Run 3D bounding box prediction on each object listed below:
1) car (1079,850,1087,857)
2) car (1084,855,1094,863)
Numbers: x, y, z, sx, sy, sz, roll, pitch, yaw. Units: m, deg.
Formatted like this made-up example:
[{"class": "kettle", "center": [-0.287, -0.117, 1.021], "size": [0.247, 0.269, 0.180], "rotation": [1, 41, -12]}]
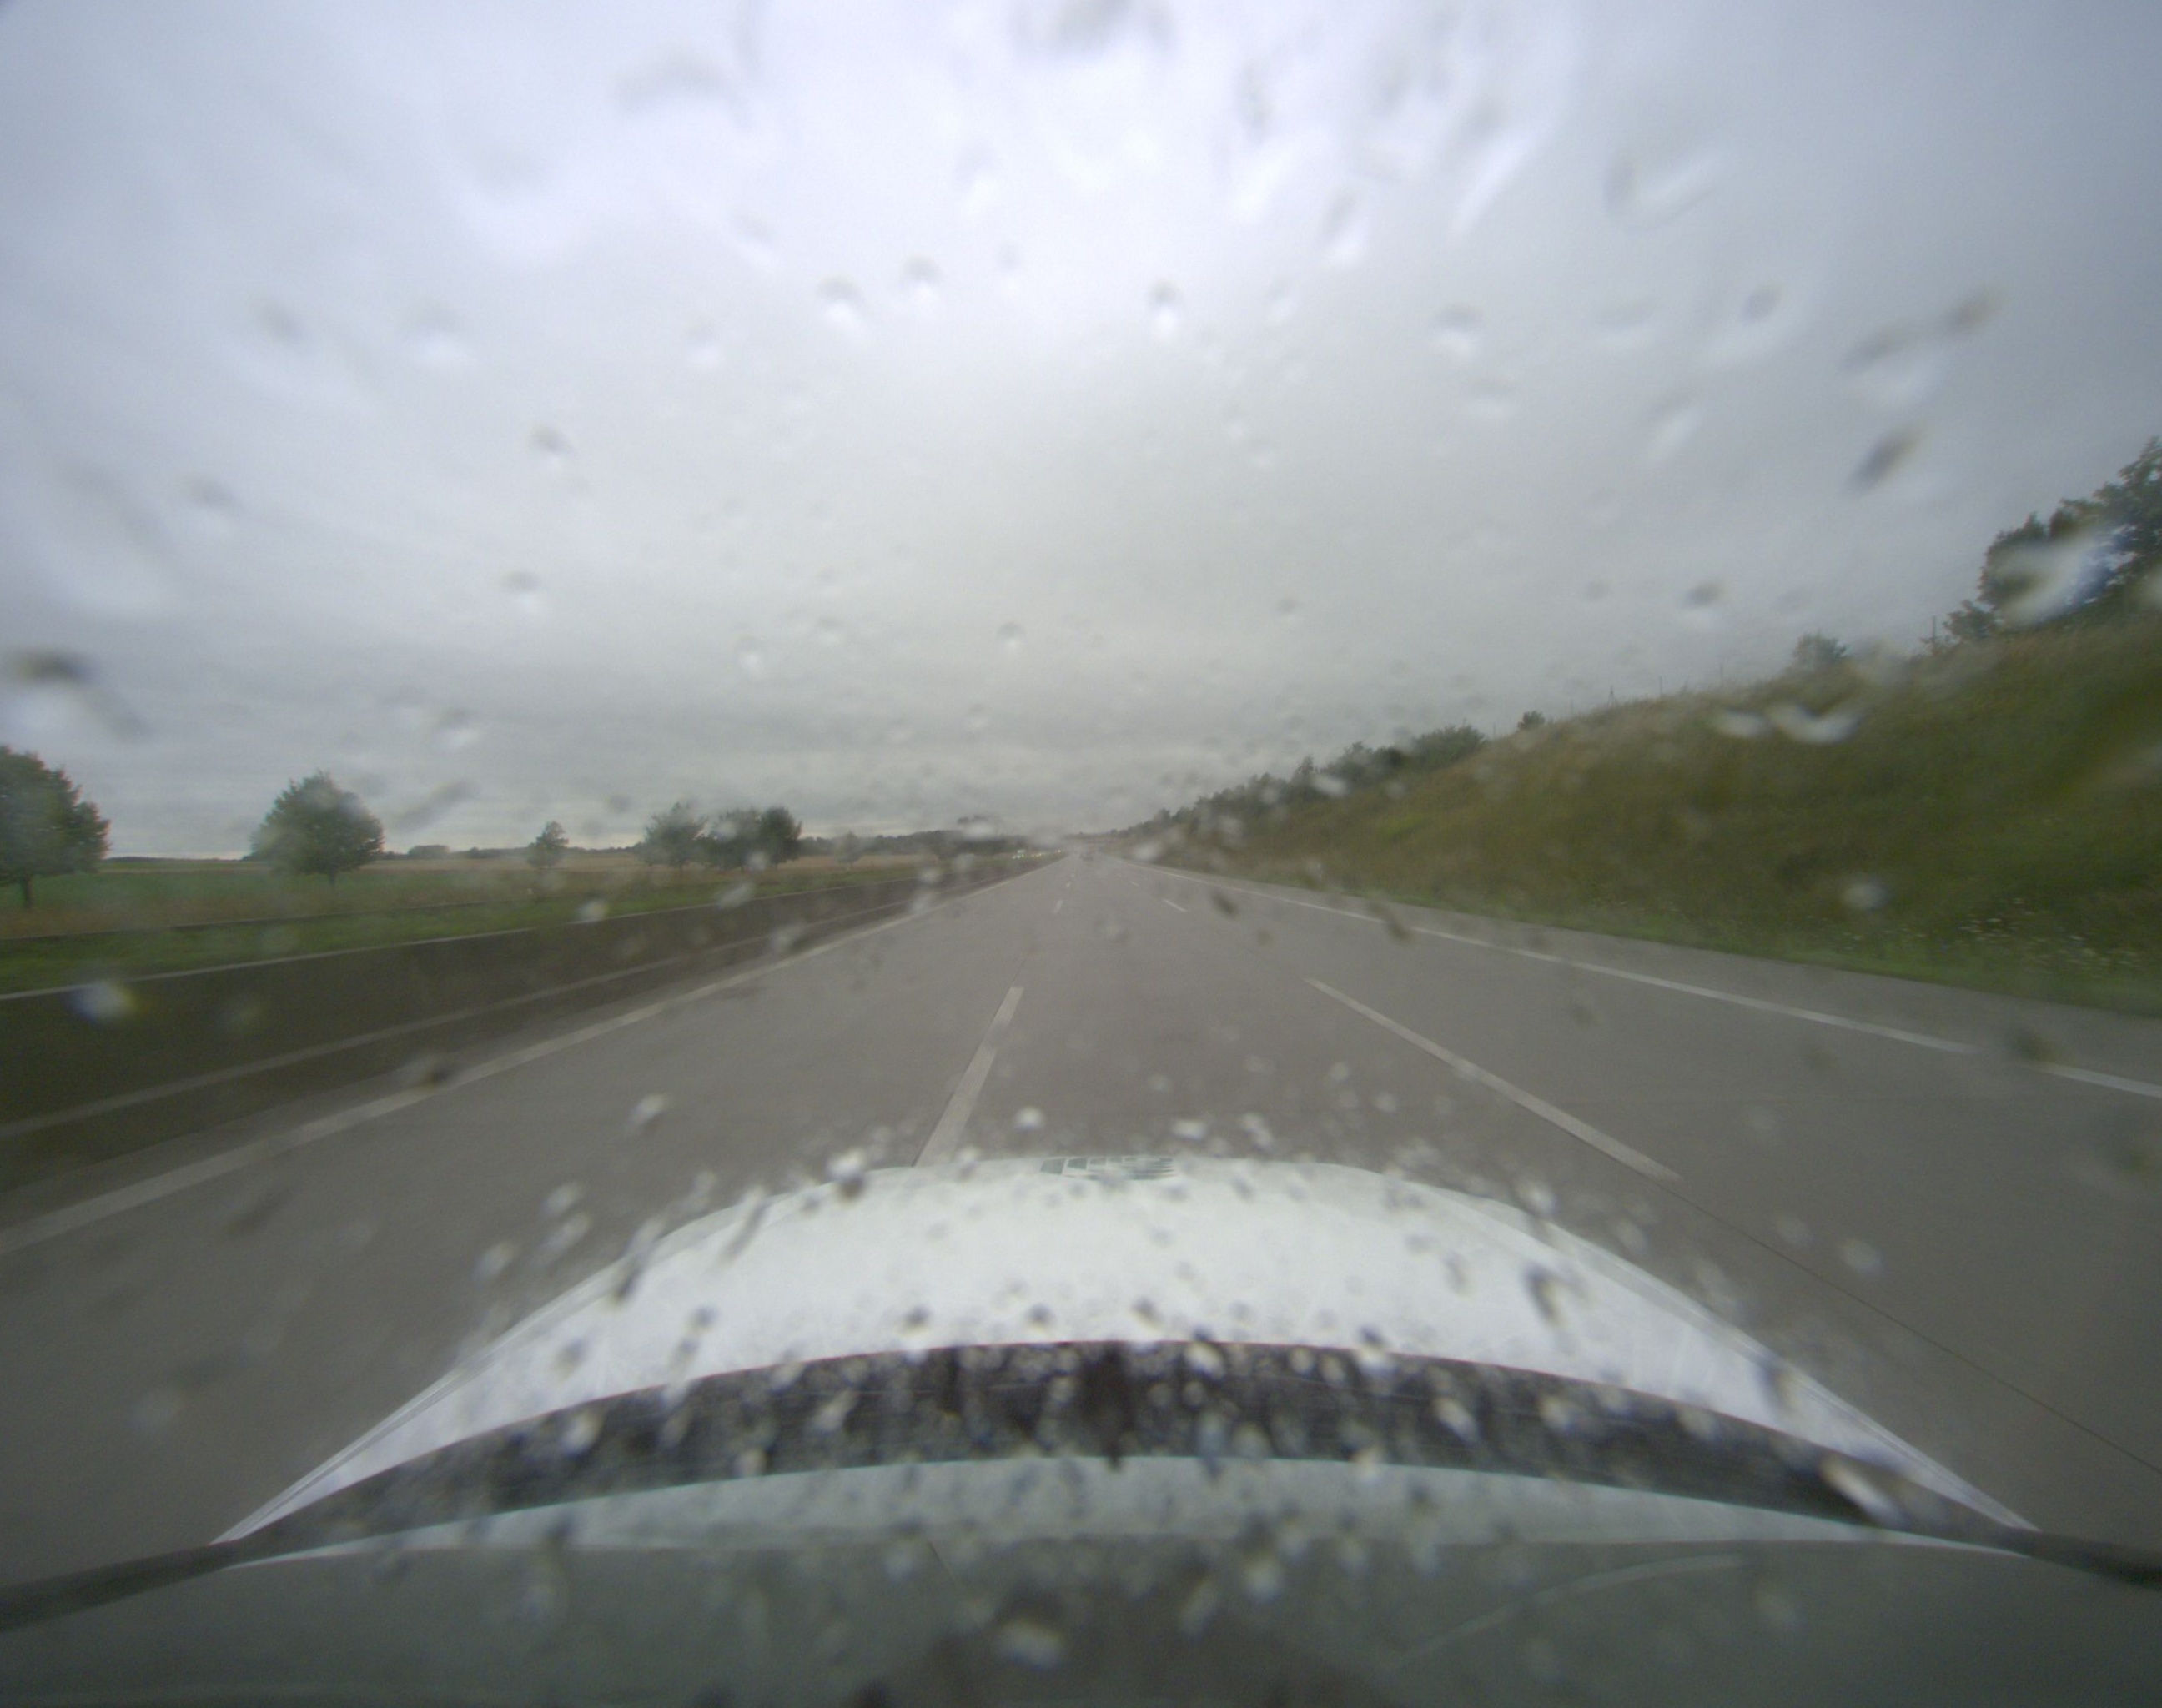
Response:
[{"class": "car", "center": [0.504, -0.109, 189.556], "size": [1.724, 1.331, 4.427], "rotation": [-1, 1, -1]}, {"class": "car", "center": [1.528, 0.988, 156.399], "size": [1.842, 1.331, 4.428], "rotation": [-1, 1, -1]}]
